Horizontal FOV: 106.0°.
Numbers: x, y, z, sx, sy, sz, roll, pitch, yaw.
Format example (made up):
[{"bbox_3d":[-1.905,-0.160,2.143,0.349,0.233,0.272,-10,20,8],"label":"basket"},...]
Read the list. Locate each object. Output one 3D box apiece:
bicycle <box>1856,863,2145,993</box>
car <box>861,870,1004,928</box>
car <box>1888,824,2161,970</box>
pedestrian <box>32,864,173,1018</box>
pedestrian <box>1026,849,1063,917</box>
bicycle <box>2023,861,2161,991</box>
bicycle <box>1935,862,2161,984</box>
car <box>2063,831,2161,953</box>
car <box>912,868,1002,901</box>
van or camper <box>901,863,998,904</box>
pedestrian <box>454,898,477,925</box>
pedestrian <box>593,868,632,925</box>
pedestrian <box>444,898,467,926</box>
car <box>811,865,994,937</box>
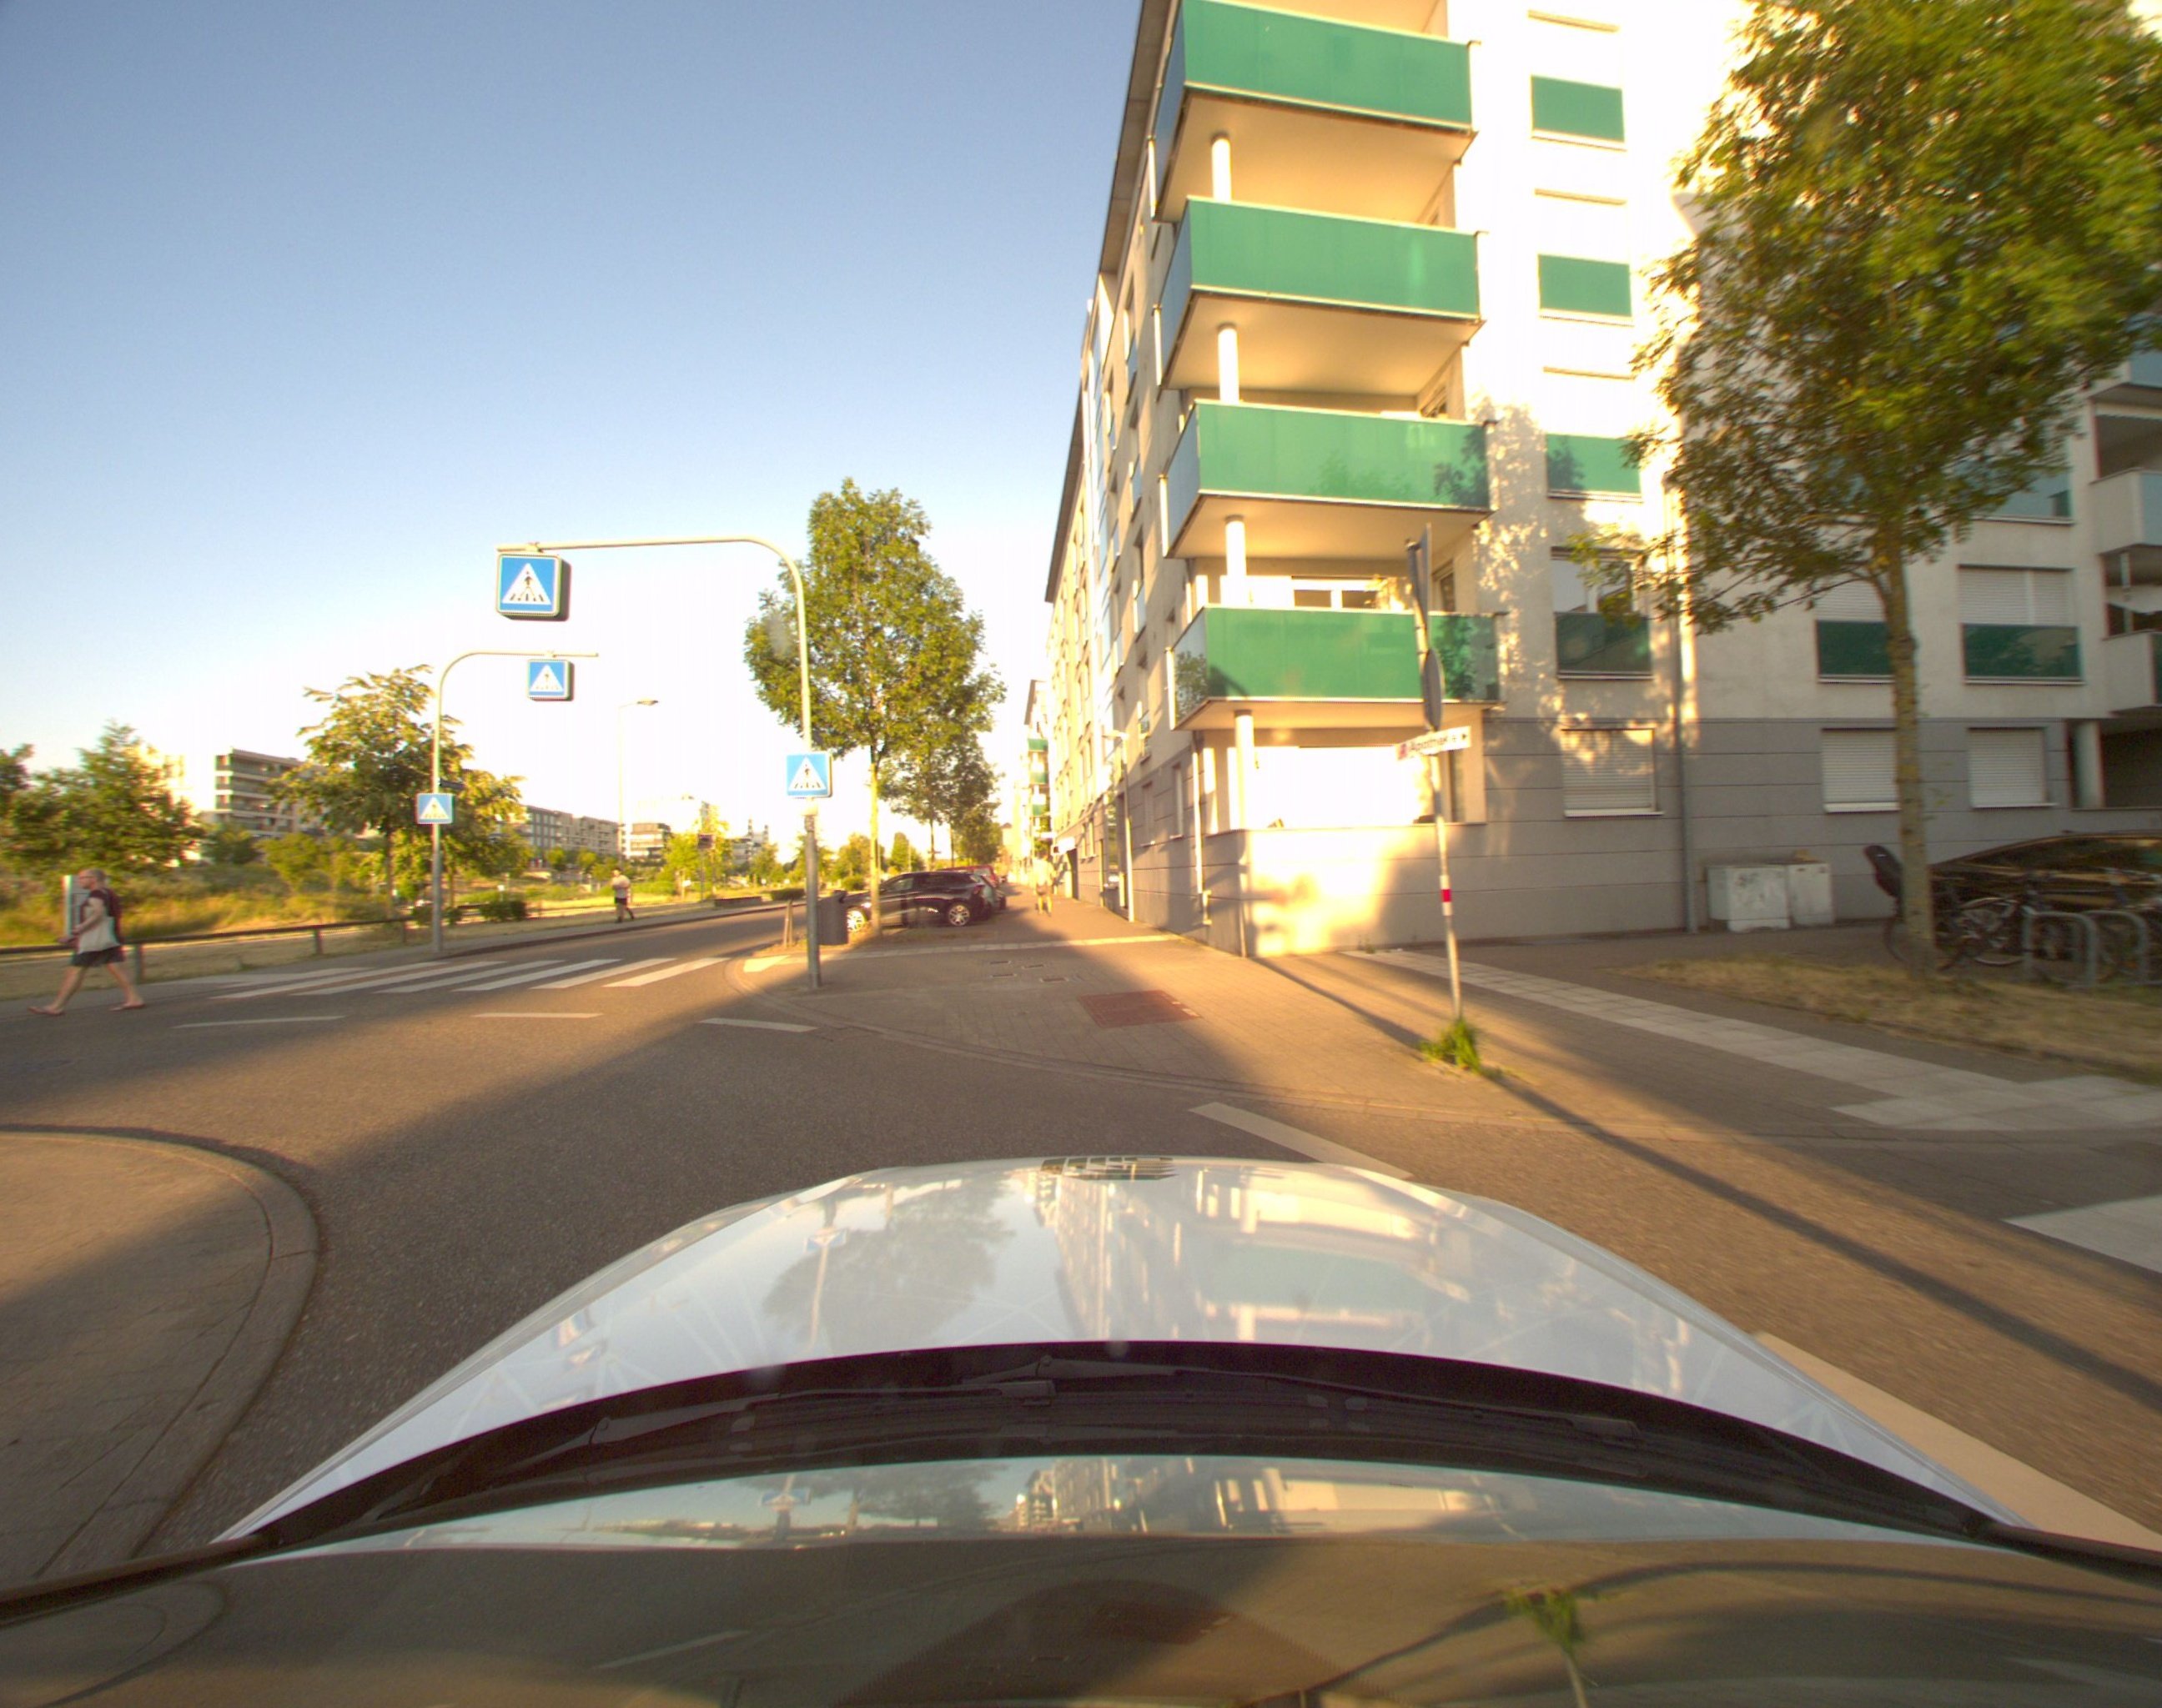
[{"bbox_3d":[8.656,0.634,7.794,0.566,1.042,1.785,-1,1,-13],"label":"bicycle"},{"bbox_3d":[-4.393,1.309,24.431,3.991,1.374,1.555,-4,0,-9],"label":"car"},{"bbox_3d":[11.823,0.413,8.383,1.930,1.457,4.879,-1,1,-7],"label":"car"},{"bbox_3d":[-11.987,1.032,10.008,0.799,1.784,0.732,-1,-2,-9],"label":"pedestrian"},{"bbox_3d":[-1.060,0.835,23.641,0.975,1.894,1.047,-1,-2,-7],"label":"pedestrian"},{"bbox_3d":[9.430,0.625,6.943,0.472,1.072,1.832,-1,1,-13],"label":"bicycle"},{"bbox_3d":[9.784,0.631,7.965,0.472,1.046,2.026,-1,1,-13],"label":"bicycle"},{"bbox_3d":[14.367,0.403,8.886,1.735,1.508,4.406,-1,-2,-6],"label":"car"},{"bbox_3d":[-6.304,1.563,41.702,4.450,1.521,1.696,-1,-2,-9],"label":"car"},{"bbox_3d":[-7.159,1.574,44.496,5.113,2.060,1.872,-1,-2,-9],"label":"van or camper"},{"bbox_3d":[-23.764,2.203,31.438,0.498,1.005,0.569,-1,-2,-11],"label":"pedestrian"},{"bbox_3d":[-14.636,1.307,25.465,0.763,1.730,0.801,-1,-2,-2],"label":"pedestrian"},{"bbox_3d":[-23.629,2.180,30.770,0.498,1.005,0.479,-1,-2,-11],"label":"pedestrian"},{"bbox_3d":[-4.630,1.201,21.606,4.464,1.487,1.828,-4,-1,-9],"label":"car"}]
